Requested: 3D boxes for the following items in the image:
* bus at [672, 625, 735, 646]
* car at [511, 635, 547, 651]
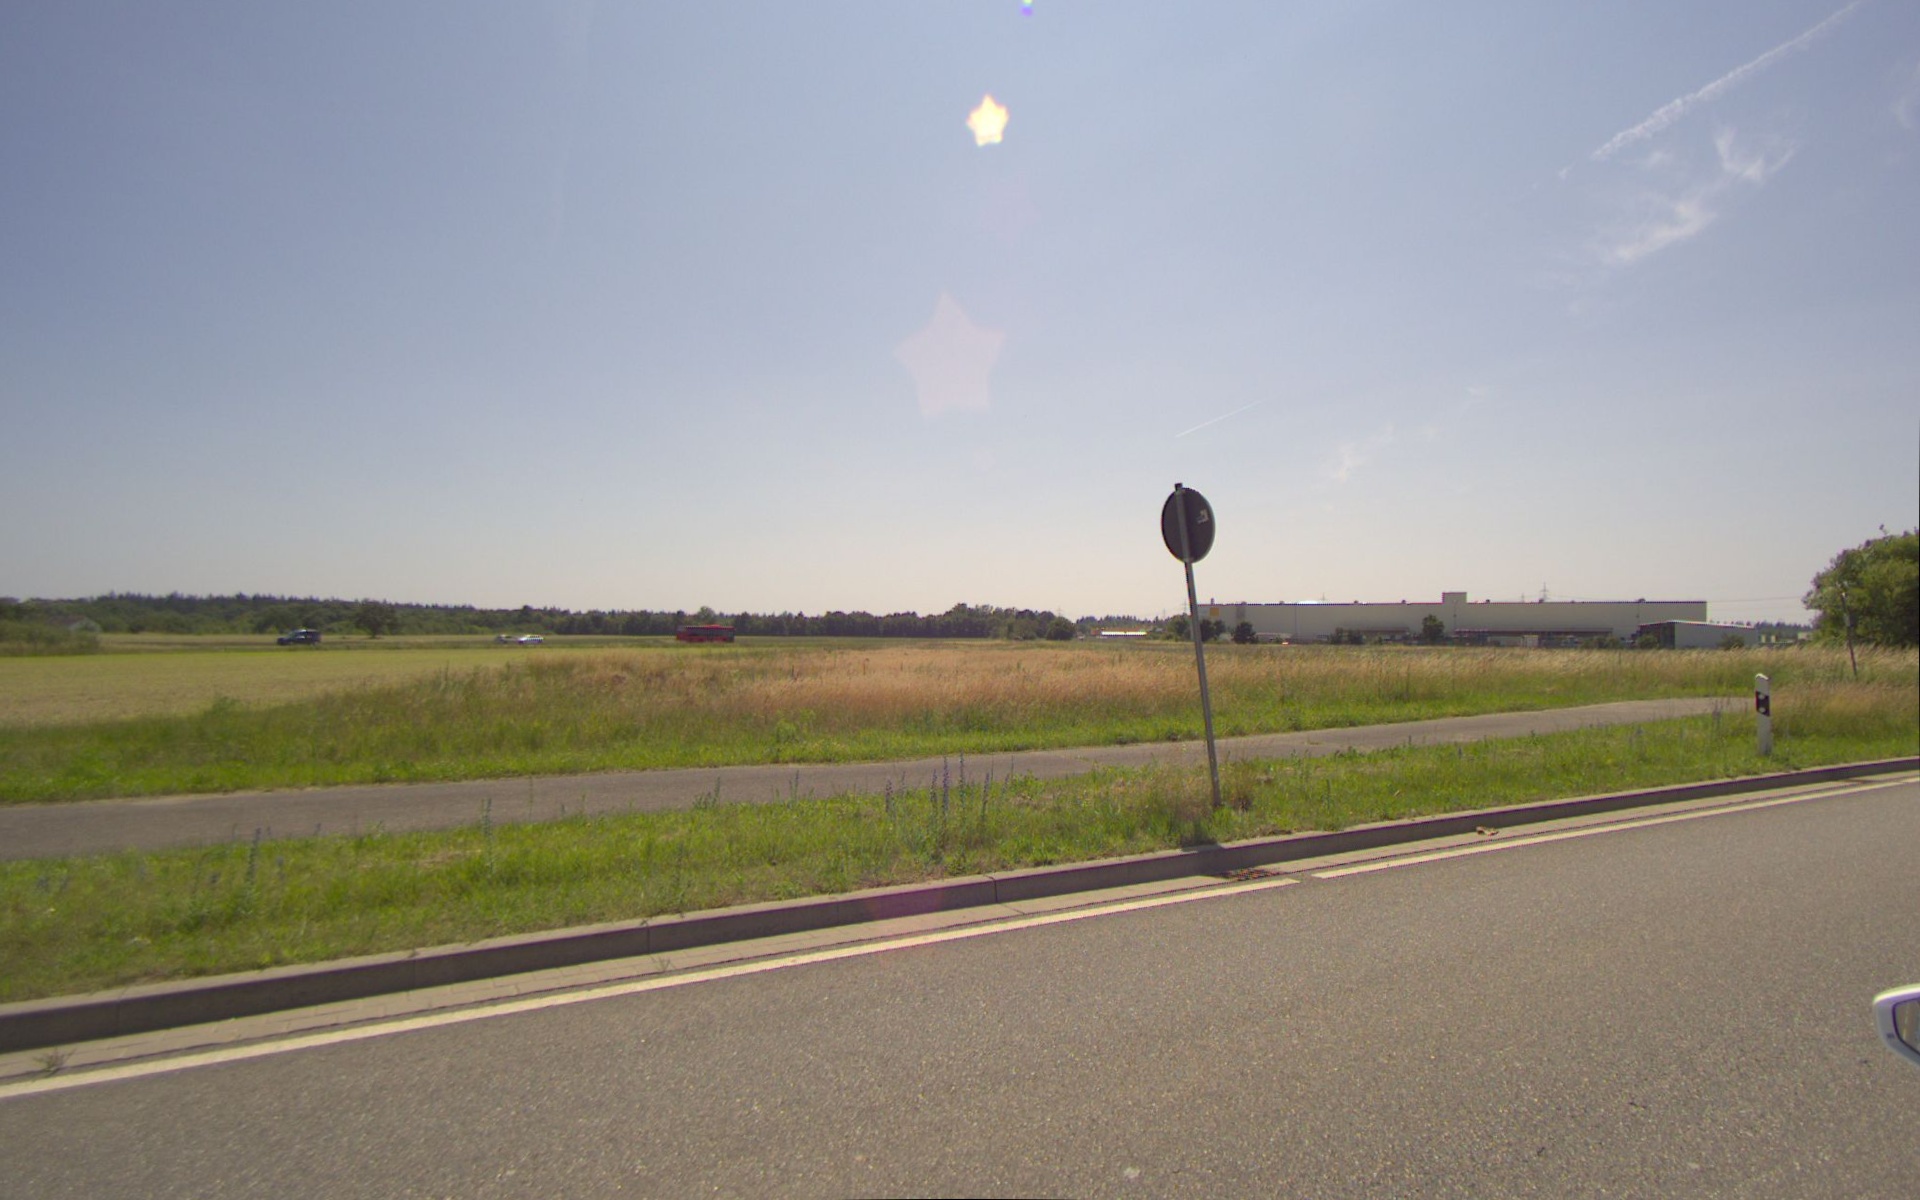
[{"bbox_3d":[-43.129,6.055,169.521,3.252,3.352,11.980,0,-2,26],"label":"bus"},{"bbox_3d":[-58.219,5.815,135.626,1.963,2.040,4.226,-1,-2,26],"label":"car"}]
